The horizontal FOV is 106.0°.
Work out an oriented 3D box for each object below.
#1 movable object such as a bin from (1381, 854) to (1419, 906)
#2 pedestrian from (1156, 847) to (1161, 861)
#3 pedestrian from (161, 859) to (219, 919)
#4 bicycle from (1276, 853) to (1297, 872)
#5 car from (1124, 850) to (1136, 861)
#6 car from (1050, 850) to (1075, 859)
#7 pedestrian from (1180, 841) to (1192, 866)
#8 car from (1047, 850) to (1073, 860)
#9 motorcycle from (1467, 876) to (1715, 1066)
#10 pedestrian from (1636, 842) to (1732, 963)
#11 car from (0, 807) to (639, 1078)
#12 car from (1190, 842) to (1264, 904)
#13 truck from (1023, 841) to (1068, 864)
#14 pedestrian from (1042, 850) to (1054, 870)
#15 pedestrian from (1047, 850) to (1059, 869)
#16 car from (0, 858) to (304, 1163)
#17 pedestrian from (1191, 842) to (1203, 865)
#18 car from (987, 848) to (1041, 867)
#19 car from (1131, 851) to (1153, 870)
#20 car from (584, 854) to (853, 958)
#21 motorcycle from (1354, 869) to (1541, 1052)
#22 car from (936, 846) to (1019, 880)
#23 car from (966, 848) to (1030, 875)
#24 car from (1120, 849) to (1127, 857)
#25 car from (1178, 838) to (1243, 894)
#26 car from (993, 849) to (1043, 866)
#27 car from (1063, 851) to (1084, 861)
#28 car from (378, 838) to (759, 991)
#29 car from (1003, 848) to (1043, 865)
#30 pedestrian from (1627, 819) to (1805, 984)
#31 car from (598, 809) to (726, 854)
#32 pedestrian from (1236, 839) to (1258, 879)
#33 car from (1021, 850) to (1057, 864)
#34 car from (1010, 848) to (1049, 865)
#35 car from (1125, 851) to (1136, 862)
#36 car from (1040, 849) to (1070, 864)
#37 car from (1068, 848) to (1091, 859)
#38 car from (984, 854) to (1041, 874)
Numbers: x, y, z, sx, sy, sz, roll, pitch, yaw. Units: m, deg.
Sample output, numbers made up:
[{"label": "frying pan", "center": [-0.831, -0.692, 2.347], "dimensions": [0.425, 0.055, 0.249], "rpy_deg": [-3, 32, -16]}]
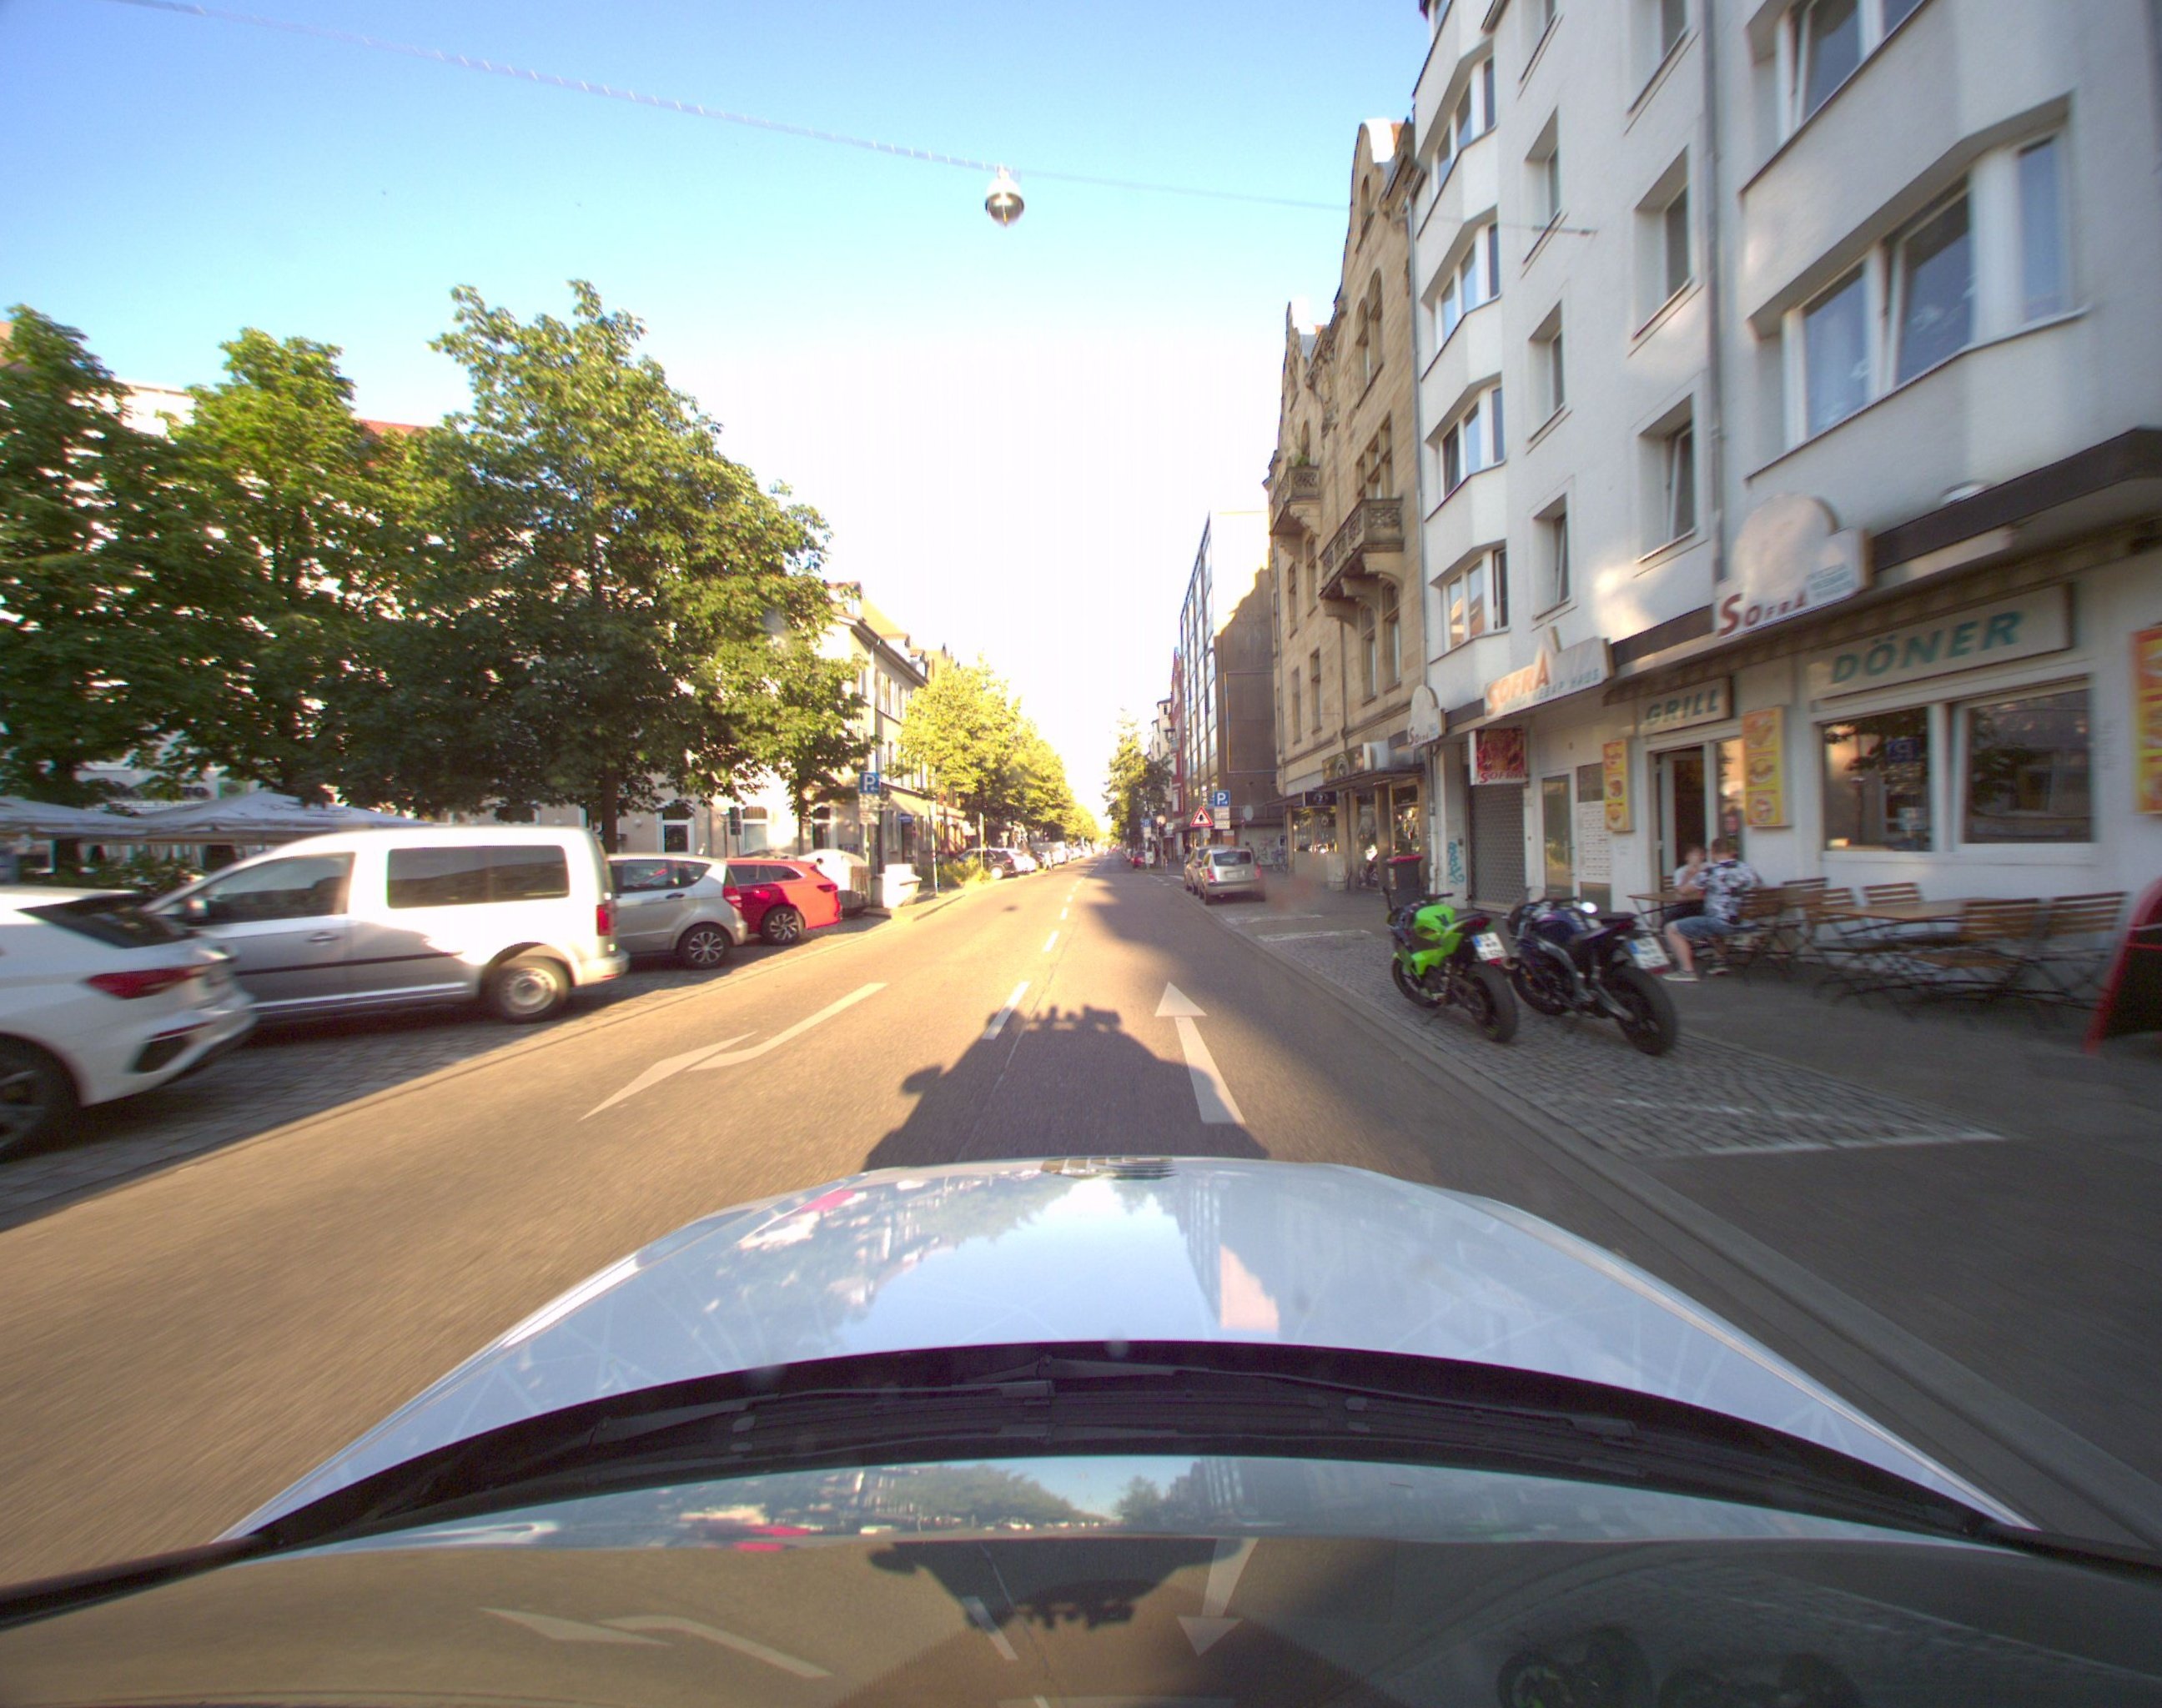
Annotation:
[{"label": "movable object such as a bin", "center": [6.976, 0.559, 17.822], "dimensions": [0.593, 1.084, 0.664], "rpy_deg": [-1, 0, 3]}, {"label": "pedestrian", "center": [9.140, -0.014, 96.019], "dimensions": [0.532, 1.622, 0.534], "rpy_deg": [-1, 0, 2]}, {"label": "pedestrian", "center": [-17.997, 0.700, 16.461], "dimensions": [0.576, 1.172, 0.536], "rpy_deg": [-1, 0, 9]}, {"label": "bicycle", "center": [11.812, 0.490, 46.876], "dimensions": [0.415, 1.030, 1.681], "rpy_deg": [-1, 1, -16]}, {"label": "car", "center": [5.754, 0.148, 95.258], "dimensions": [1.203, 1.300, 2.660], "rpy_deg": [-1, 0, -1]}, {"label": "car", "center": [-2.912, 0.051, 126.394], "dimensions": [3.726, 1.492, 2.001], "rpy_deg": [0, 0, 1]}, {"label": "pedestrian", "center": [7.810, -0.047, 60.637], "dimensions": [0.712, 1.865, 0.679], "rpy_deg": [-2, 0, -1]}, {"label": "car", "center": [-3.069, 0.099, 121.637], "dimensions": [3.726, 1.449, 2.001], "rpy_deg": [0, 0, 1]}, {"label": "motorcycle", "center": [3.784, 0.779, 6.312], "dimensions": [0.586, 1.123, 2.211], "rpy_deg": [-1, 1, 2]}, {"label": "pedestrian", "center": [6.593, 0.514, 8.946], "dimensions": [0.734, 1.219, 0.796], "rpy_deg": [-3, 1, 32]}, {"label": "car", "center": [-6.436, 0.578, 7.473], "dimensions": [4.016, 1.878, 1.851], "rpy_deg": [-1, 1, -34]}, {"label": "car", "center": [4.153, 0.486, 23.700], "dimensions": [1.672, 1.561, 4.005], "rpy_deg": [-3, 1, 4]}, {"label": "truck", "center": [-4.043, -0.216, 93.504], "dimensions": [4.923, 2.615, 2.001], "rpy_deg": [0, 0, 1]}, {"label": "pedestrian", "center": [-2.853, 0.518, 69.928], "dimensions": [0.720, 1.673, 0.702], "rpy_deg": [-1, 1, -38]}, {"label": "pedestrian", "center": [-2.475, 0.488, 71.108], "dimensions": [0.727, 1.683, 0.749], "rpy_deg": [0, 0, -38]}, {"label": "car", "center": [-6.807, 0.784, 4.063], "dimensions": [4.018, 1.492, 1.829], "rpy_deg": [0, 0, -36]}, {"label": "pedestrian", "center": [8.622, -0.023, 60.631], "dimensions": [0.763, 1.689, 0.786], "rpy_deg": [-1, 0, 0]}, {"label": "car", "center": [-5.691, 0.321, 69.590], "dimensions": [4.410, 1.599, 2.001], "rpy_deg": [0, 0, 1]}, {"label": "car", "center": [5.225, 0.562, 70.388], "dimensions": [1.572, 1.542, 3.396], "rpy_deg": [-3, 0, -1]}, {"label": "car", "center": [-6.252, 0.802, 14.278], "dimensions": [4.009, 1.485, 1.982], "rpy_deg": [-2, 0, -27]}, {"label": "motorcycle", "center": [2.996, 0.786, 6.941], "dimensions": [0.586, 1.200, 2.211], "rpy_deg": [-4, 1, 2]}, {"label": "car", "center": [-5.937, 0.510, 47.028], "dimensions": [4.432, 1.835, 2.034], "rpy_deg": [-1, 0, 1]}, {"label": "car", "center": [-5.472, 0.455, 54.081], "dimensions": [3.975, 1.708, 1.834], "rpy_deg": [-1, 1, 1]}, {"label": "car", "center": [9.050, -0.161, 174.103], "dimensions": [1.305, 1.600, 2.660], "rpy_deg": [-1, 0, -1]}, {"label": "car", "center": [4.415, 0.360, 28.346], "dimensions": [1.690, 1.769, 4.002], "rpy_deg": [-2, 1, 1]}, {"label": "car", "center": [-5.756, 0.332, 74.535], "dimensions": [4.410, 1.503, 2.001], "rpy_deg": [0, 0, 1]}, {"label": "car", "center": [-1.384, 0.413, 151.546], "dimensions": [3.726, 1.708, 2.001], "rpy_deg": [-1, 1, 1]}, {"label": "car", "center": [-6.594, 0.664, 10.859], "dimensions": [4.016, 1.696, 1.731], "rpy_deg": [0, 0, -34]}, {"label": "car", "center": [-5.605, 0.234, 79.494], "dimensions": [3.726, 1.642, 2.001], "rpy_deg": [0, 0, 1]}, {"label": "pedestrian", "center": [6.061, 0.424, 7.845], "dimensions": [0.951, 1.486, 0.993], "rpy_deg": [-1, 0, 1]}, {"label": "car", "center": [-16.698, -0.914, 32.730], "dimensions": [4.439, 1.677, 1.945], "rpy_deg": [-1, 1, -24]}, {"label": "pedestrian", "center": [7.483, 0.227, 36.657], "dimensions": [0.752, 1.767, 1.222], "rpy_deg": [-1, 0, 1]}, {"label": "car", "center": [-4.466, 0.290, 87.136], "dimensions": [3.726, 1.449, 2.001], "rpy_deg": [0, 0, 1]}, {"label": "car", "center": [-5.165, 0.243, 82.300], "dimensions": [3.726, 1.596, 2.001], "rpy_deg": [0, 0, 1]}, {"label": "car", "center": [6.252, 0.352, 102.545], "dimensions": [1.203, 1.300, 2.660], "rpy_deg": [-1, 0, -1]}, {"label": "car", "center": [-3.356, 0.283, 104.514], "dimensions": [3.726, 1.858, 2.001], "rpy_deg": [-1, 1, 1]}, {"label": "car", "center": [-0.271, -0.037, 133.614], "dimensions": [3.726, 1.708, 2.001], "rpy_deg": [-1, 1, 1]}, {"label": "car", "center": [-5.189, 0.748, 62.039], "dimensions": [4.160, 1.507, 2.001], "rpy_deg": [0, 0, 1]}]
